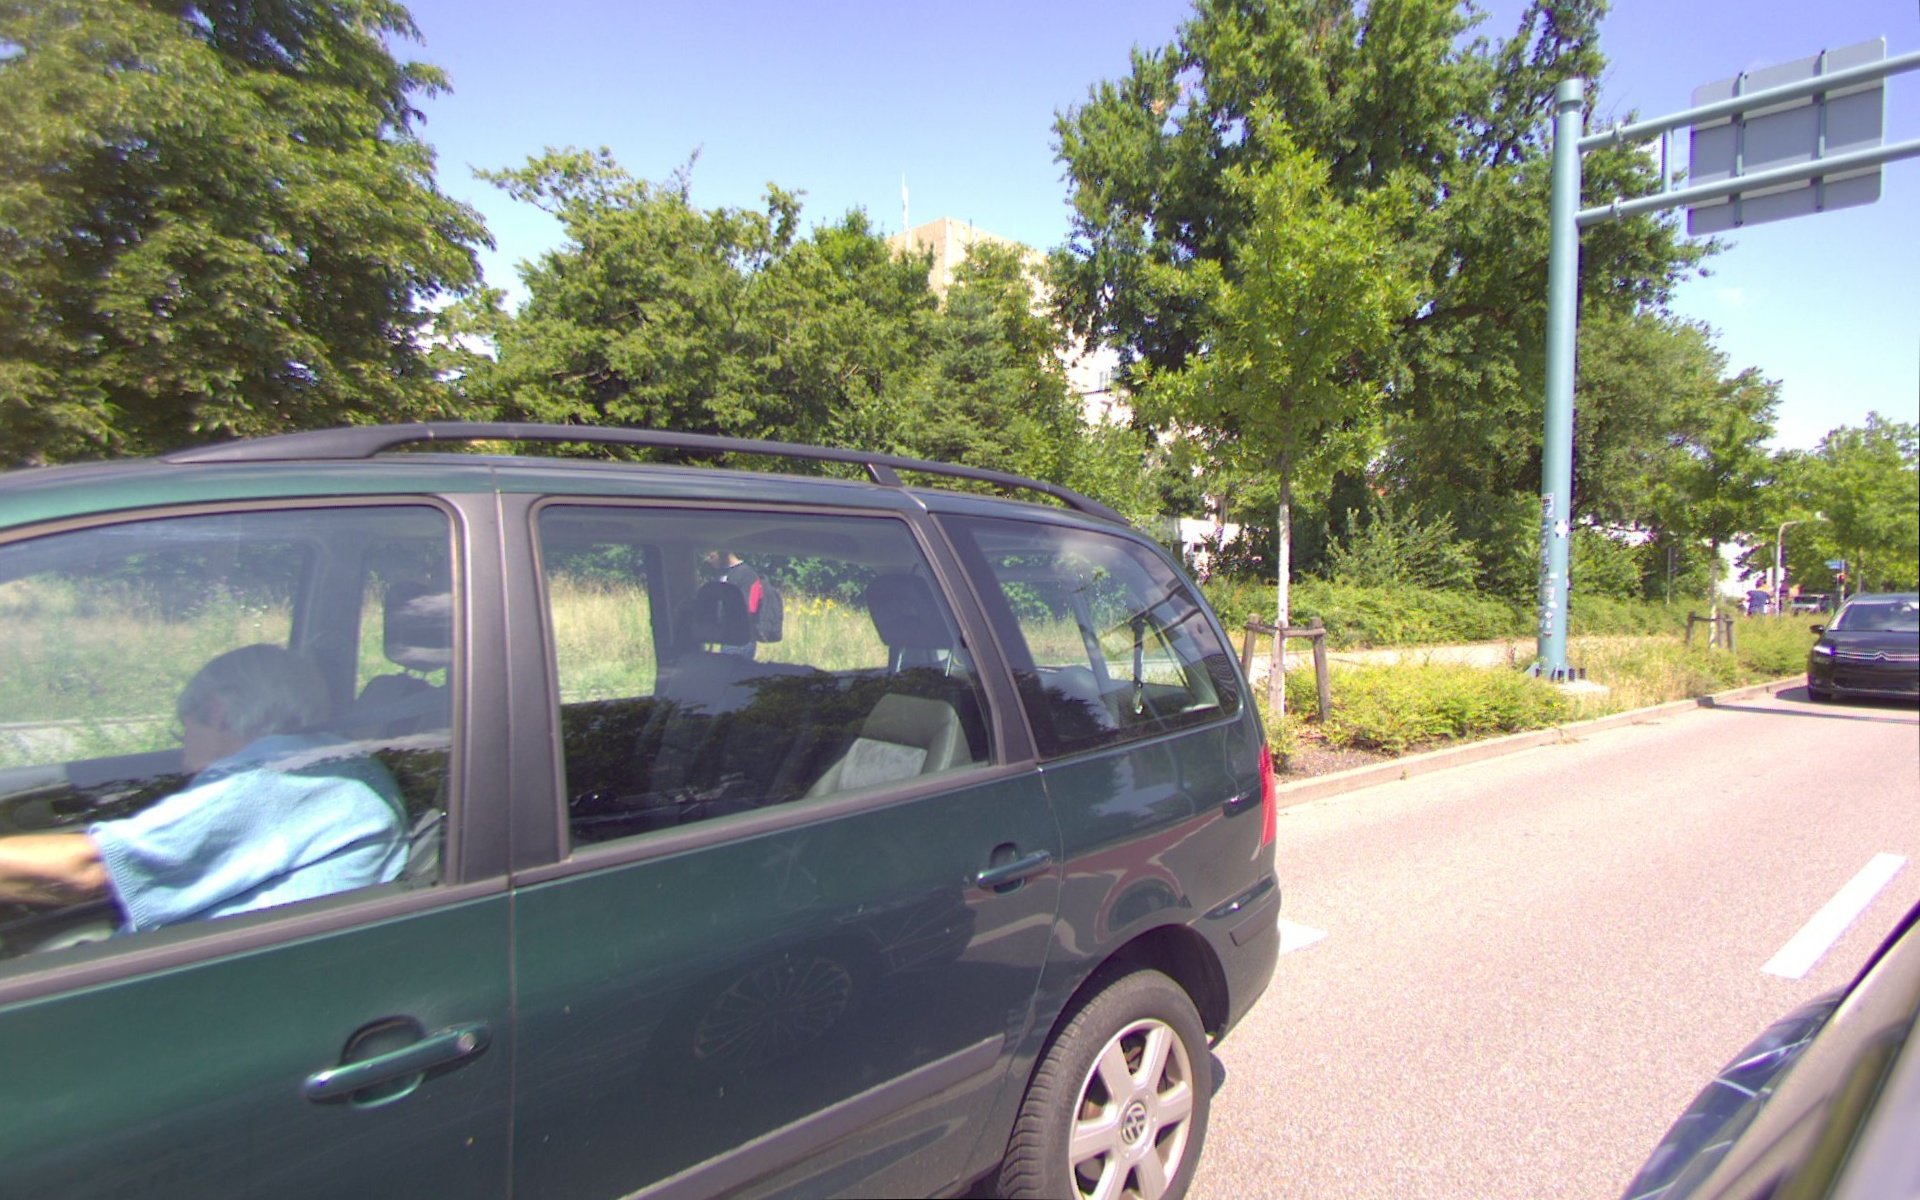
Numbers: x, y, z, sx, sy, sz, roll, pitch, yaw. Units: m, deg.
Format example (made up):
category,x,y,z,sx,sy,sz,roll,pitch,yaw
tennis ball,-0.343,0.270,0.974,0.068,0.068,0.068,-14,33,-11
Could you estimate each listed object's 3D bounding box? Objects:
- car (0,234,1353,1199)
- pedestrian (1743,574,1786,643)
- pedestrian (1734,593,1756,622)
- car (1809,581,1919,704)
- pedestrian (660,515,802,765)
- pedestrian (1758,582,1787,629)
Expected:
category,x,y,z,sx,sy,sz,roll,pitch,yaw
car,-1.165,0.523,1.947,4.315,1.737,1.804,0,-1,-41
pedestrian,21.284,0.228,26.775,0.869,1.787,0.640,1,1,-35
pedestrian,44.564,0.438,57.453,0.752,1.630,0.766,1,0,-31
car,14.263,0.575,15.059,4.400,1.628,1.815,1,-1,-41
pedestrian,-1.688,0.267,7.406,0.799,1.705,0.762,1,1,-29
pedestrian,36.540,0.257,45.535,0.839,2.063,0.892,1,0,29
